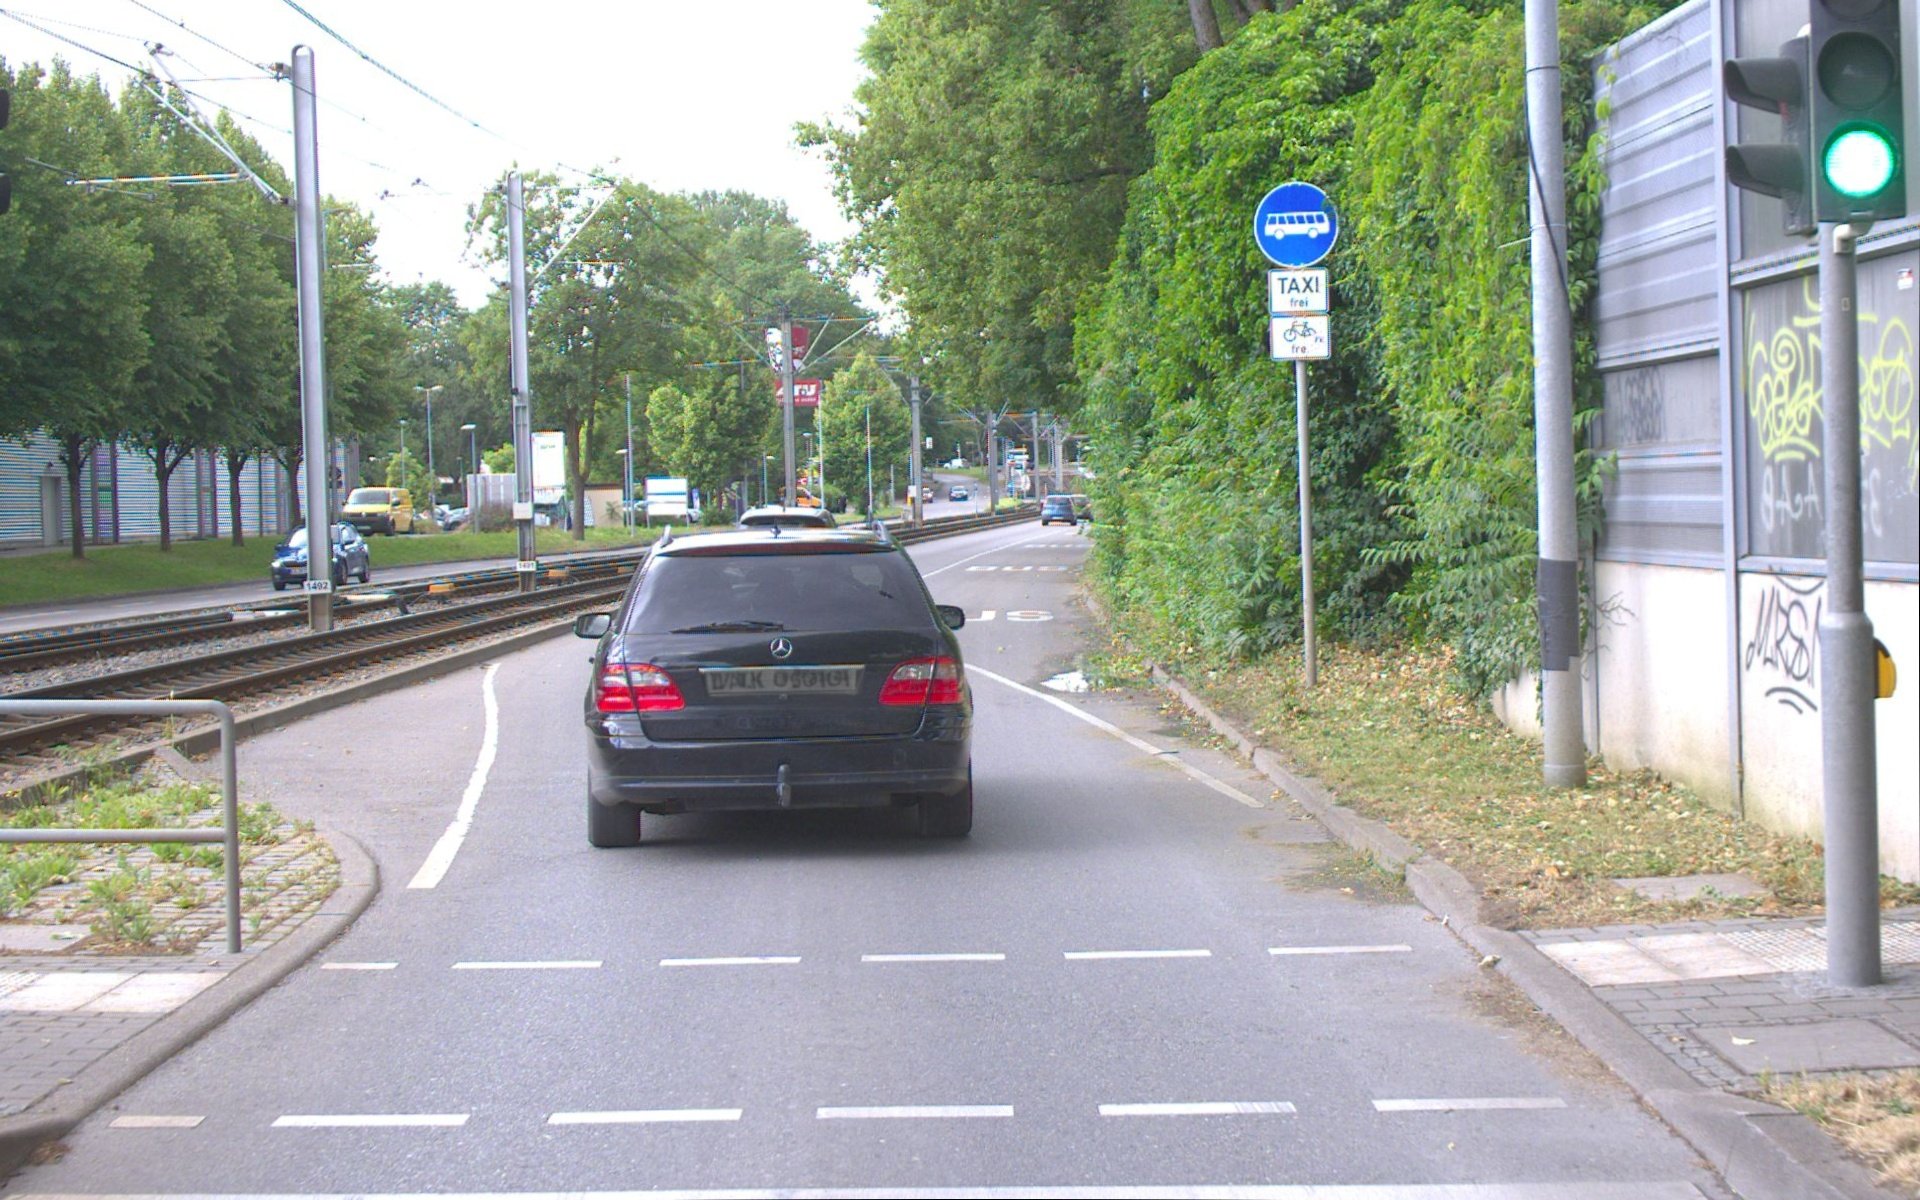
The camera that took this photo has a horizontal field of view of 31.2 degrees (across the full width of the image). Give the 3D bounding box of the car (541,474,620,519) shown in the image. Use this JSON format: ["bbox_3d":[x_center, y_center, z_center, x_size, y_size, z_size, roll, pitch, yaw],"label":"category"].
[{"bbox_3d":[-19.938,-5.434,180.734,3.986,2.116,2.000,-3,1,-4],"label":"car"}]

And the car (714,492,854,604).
[{"bbox_3d":[-2.514,-0.788,49.967,1.825,1.524,4.416,-1,2,0],"label":"car"}]

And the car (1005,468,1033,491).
[{"bbox_3d":[4.007,-8.125,232.245,1.825,1.524,4.179,-1,2,2],"label":"car"}]

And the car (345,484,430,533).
[{"bbox_3d":[-21.579,-3.468,129.805,1.994,1.737,4.987,-2,2,4],"label":"car"}]

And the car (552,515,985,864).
[{"bbox_3d":[-0.815,0.337,17.131,1.833,1.473,4.416,-1,2,1],"label":"car"}]

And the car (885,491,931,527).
[{"bbox_3d":[-2.251,-3.992,149.798,1.825,1.524,3.986,-1,2,2],"label":"car"}]

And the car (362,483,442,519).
[{"bbox_3d":[-29.997,-5.310,184.764,3.986,1.674,2.001,-3,1,-14],"label":"car"}]

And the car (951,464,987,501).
[{"bbox_3d":[0.526,-6.647,194.726,1.891,2.006,3.898,-3,1,0],"label":"car"}]

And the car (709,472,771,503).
[{"bbox_3d":[-13.622,-6.978,213.032,3.692,1.809,1.795,-1,2,-7],"label":"car"}]

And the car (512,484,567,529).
[{"bbox_3d":[-19.638,-4.370,160.732,1.993,2.006,4.000,-3,1,0],"label":"car"}]

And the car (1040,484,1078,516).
[{"bbox_3d":[4.872,-4.908,169.162,1.825,1.524,4.416,-1,2,2],"label":"car"}]

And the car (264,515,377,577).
[{"bbox_3d":[-15.117,-1.301,81.385,1.660,1.388,3.718,-1,2,5],"label":"car"}]
